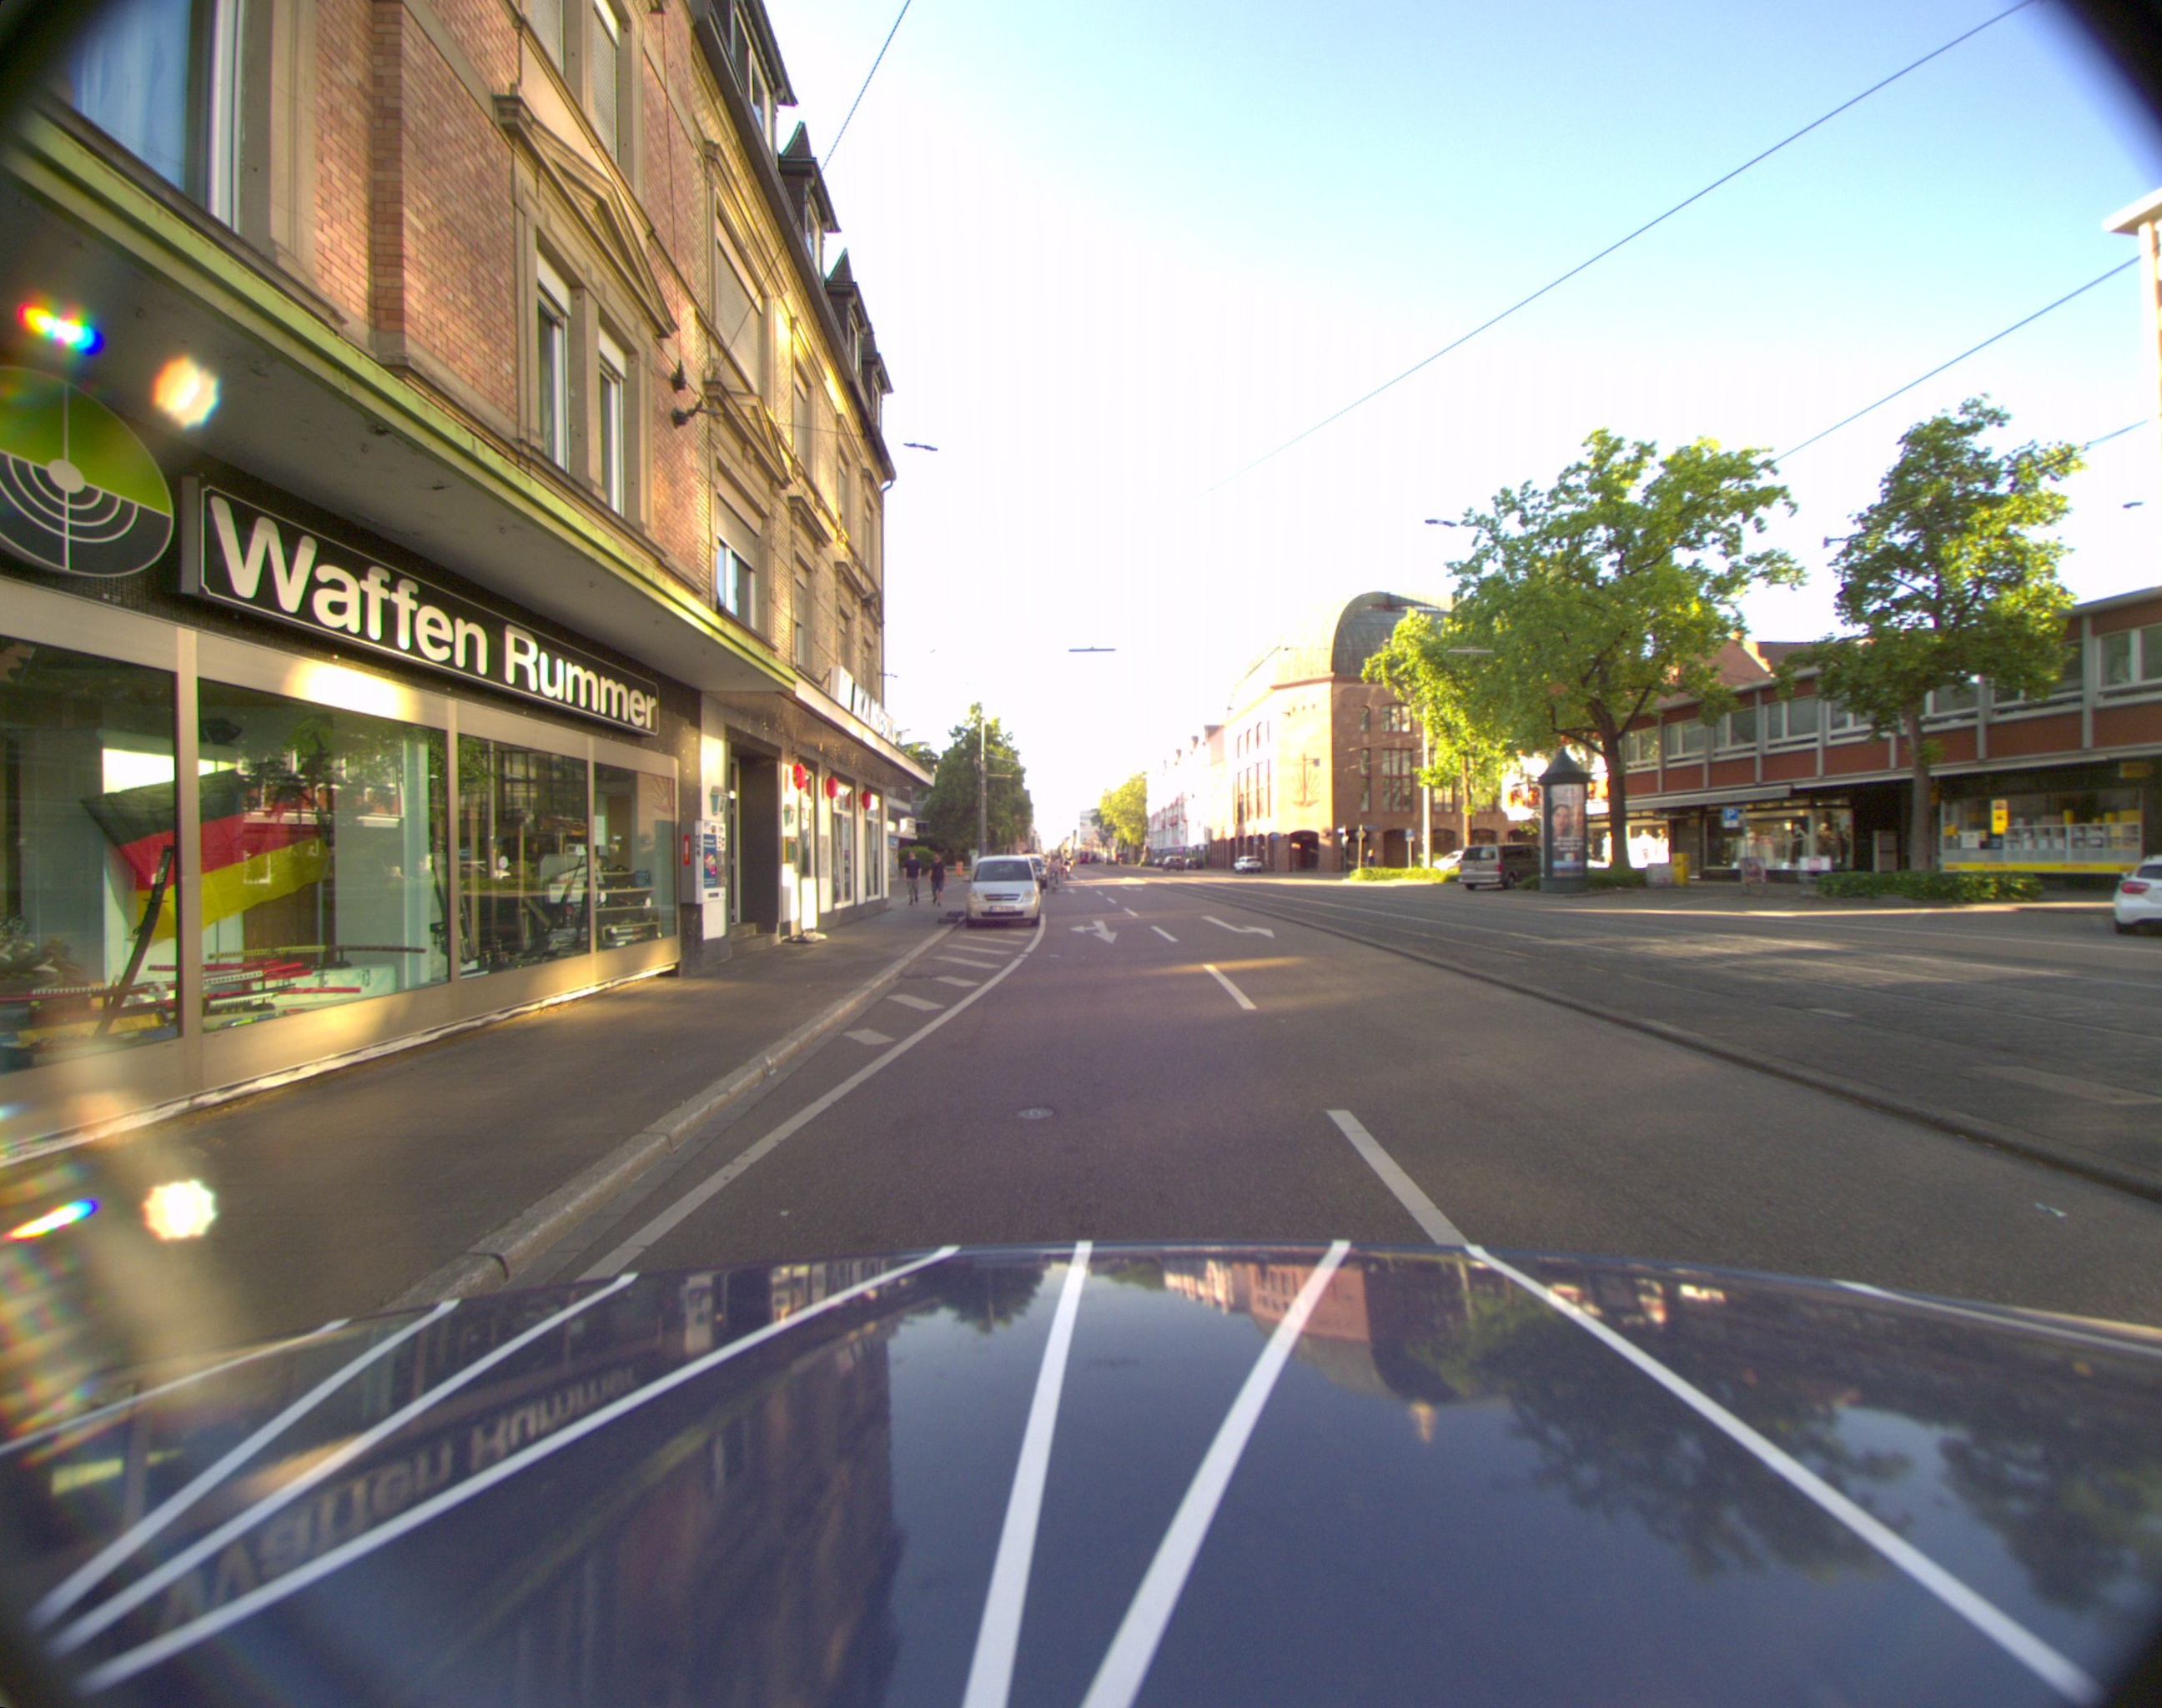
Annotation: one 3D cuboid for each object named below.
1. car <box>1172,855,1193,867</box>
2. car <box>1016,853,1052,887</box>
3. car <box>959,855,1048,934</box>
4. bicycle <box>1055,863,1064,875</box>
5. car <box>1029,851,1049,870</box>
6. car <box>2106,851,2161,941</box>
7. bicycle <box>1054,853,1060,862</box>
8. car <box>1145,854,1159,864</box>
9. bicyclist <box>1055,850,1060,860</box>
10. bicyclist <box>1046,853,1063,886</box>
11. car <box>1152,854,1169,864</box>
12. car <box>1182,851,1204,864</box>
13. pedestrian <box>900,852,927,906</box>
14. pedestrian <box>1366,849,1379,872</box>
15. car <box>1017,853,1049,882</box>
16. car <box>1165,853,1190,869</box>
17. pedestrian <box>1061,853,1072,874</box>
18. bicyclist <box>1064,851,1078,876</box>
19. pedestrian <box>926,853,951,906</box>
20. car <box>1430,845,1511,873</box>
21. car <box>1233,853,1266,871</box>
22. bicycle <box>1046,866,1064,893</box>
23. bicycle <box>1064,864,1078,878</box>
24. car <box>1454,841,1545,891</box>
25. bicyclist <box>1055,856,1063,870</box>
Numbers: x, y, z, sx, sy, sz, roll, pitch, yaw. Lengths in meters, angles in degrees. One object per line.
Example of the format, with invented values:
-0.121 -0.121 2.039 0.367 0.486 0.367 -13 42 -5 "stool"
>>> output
13.866 0.926 104.005 1.965 1.594 3.998 -2 0 -4 "car"
-2.444 0.813 40.307 1.671 1.674 4.000 -1 0 -1 "car"
-1.752 0.868 18.368 1.671 1.674 4.000 -1 0 1 "car"
-2.147 1.503 76.032 0.673 1.085 2.037 -1 0 -9 "bicycle"
-3.868 0.542 70.020 1.671 1.674 4.000 -1 0 -1 "car"
20.538 0.719 13.976 4.007 1.466 1.793 -2 1 -34 "car"
-2.972 0.421 94.447 0.646 1.176 1.804 0 0 -5 "bicycle"
13.001 0.904 139.077 1.965 1.594 3.998 -2 0 -4 "car"
-2.914 0.120 94.447 0.646 1.176 0.722 0 0 -5 "bicyclist"
-1.180 0.667 34.122 0.682 1.434 0.944 -2 1 1 "bicyclist"
12.911 0.754 123.103 1.965 1.594 3.998 -2 0 -4 "car"
14.346 0.459 97.579 1.965 1.594 3.998 -2 0 -4 "car"
-5.475 0.808 24.883 0.701 1.713 0.681 1 1 -1 "pedestrian"
22.662 0.504 59.159 0.790 1.737 0.548 0 1 1 "pedestrian"
-2.837 0.767 45.726 1.671 1.674 4.000 -1 0 -1 "car"
10.430 0.777 82.349 1.965 1.594 3.998 -2 0 -4 "car"
-1.140 0.768 60.890 0.849 1.652 0.850 -1 1 1 "pedestrian"
-0.687 0.619 51.273 0.886 1.650 0.803 0 1 1 "bicyclist"
-4.632 0.823 24.692 0.701 1.713 0.502 1 1 -1 "pedestrian"
28.667 0.356 56.017 4.985 2.002 1.999 0 0 -4 "car"
15.620 0.728 70.544 1.911 1.594 3.998 -2 0 -4 "car"
-1.153 1.130 34.186 0.682 1.081 1.752 -2 1 1 "bicycle"
-0.686 1.139 51.159 0.886 0.949 1.765 0 0 1 "bicycle"
18.020 0.475 32.660 4.007 1.952 1.906 -2 1 -37 "car"
-2.169 0.912 76.089 0.673 1.414 0.763 -1 1 -9 "bicyclist"
